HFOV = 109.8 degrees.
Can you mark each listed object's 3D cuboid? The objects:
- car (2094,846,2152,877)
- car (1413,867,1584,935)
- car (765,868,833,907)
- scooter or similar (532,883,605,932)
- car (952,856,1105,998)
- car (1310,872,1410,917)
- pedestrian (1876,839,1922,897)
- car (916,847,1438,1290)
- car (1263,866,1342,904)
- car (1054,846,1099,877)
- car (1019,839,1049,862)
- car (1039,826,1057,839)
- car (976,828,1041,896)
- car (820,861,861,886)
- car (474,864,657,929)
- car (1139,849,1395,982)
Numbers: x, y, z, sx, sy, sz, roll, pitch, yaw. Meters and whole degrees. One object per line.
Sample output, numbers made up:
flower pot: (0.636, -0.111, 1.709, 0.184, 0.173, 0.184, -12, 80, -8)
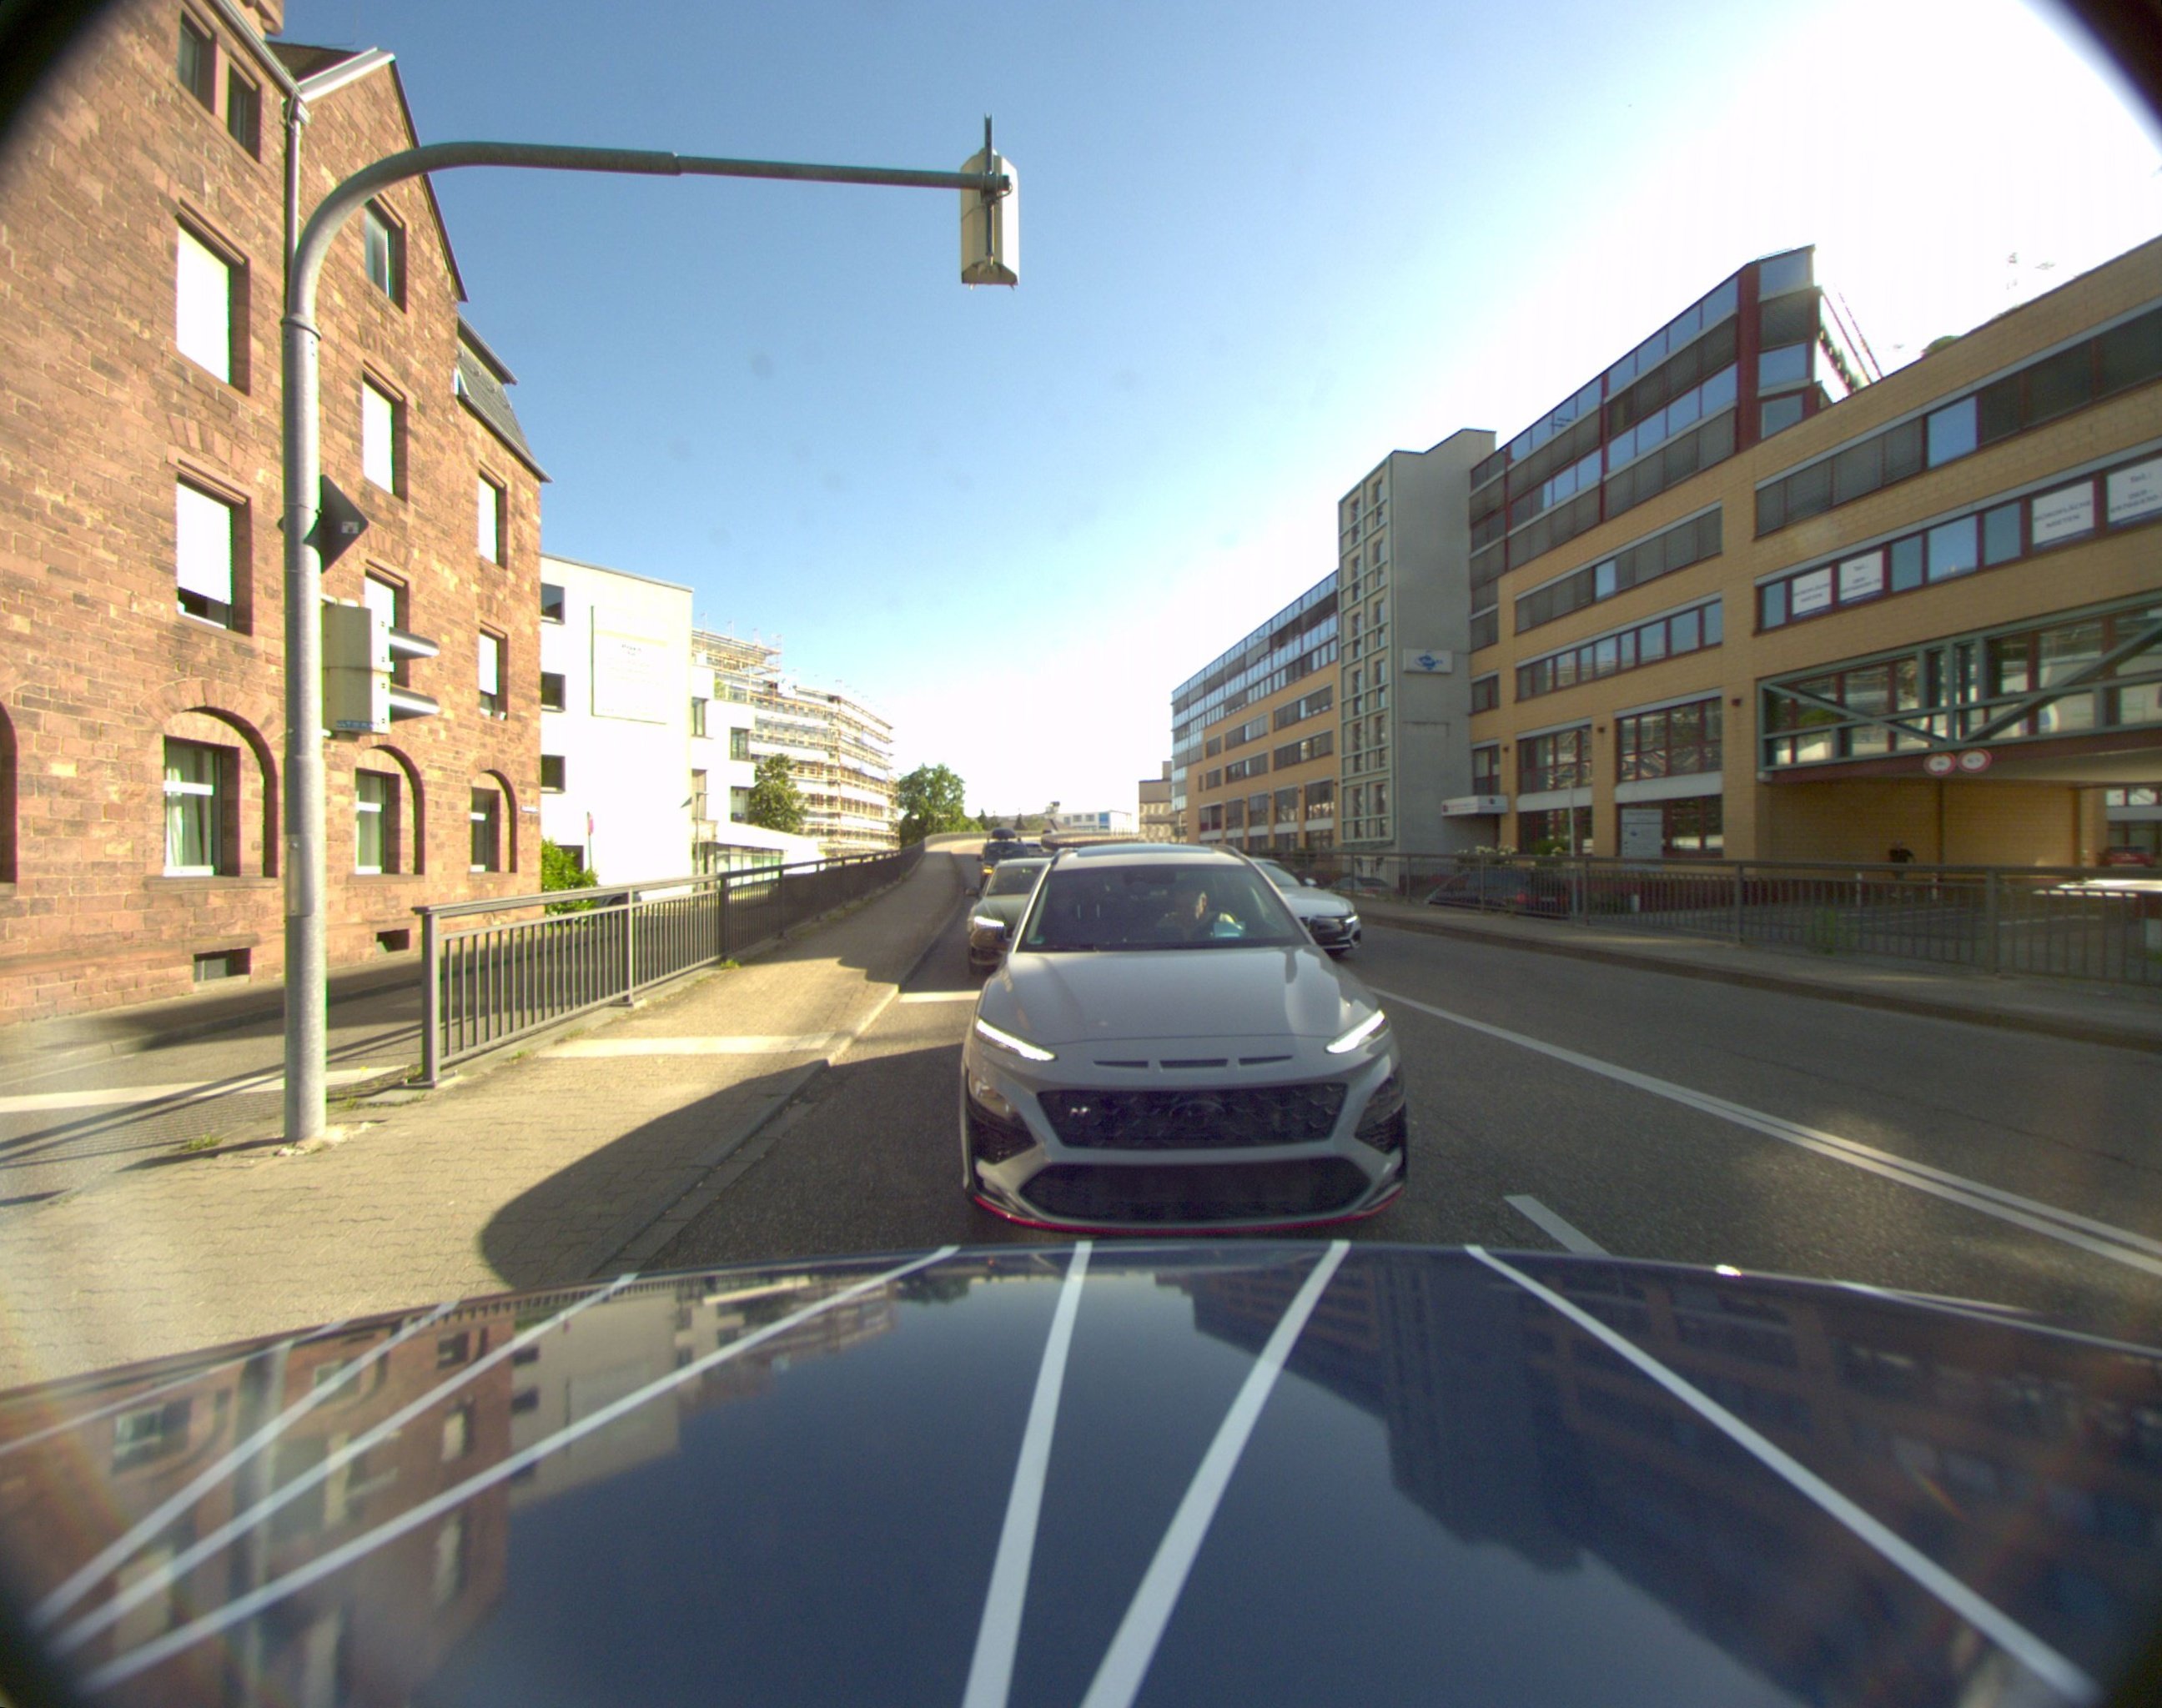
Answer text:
car: (53.702, 0.390, 39.200, 3.159, 1.564, 1.639, 0, -1, -38)
car: (12.409, 1.305, 23.007, 1.957, 1.747, 4.683, -1, 0, -11)
car: (-13.041, 1.496, 35.414, 1.850, 1.422, 4.678, -1, 2, -6)
scooter or similar: (-14.269, 1.475, 21.191, 1.463, 1.212, 0.784, -3, 1, -14)
car: (-0.678, 0.838, 10.816, 1.721, 1.483, 4.167, -1, 2, -2)
car: (11.089, 1.564, 30.589, 1.826, 1.594, 4.353, 0, 0, -10)
pedestrian: (26.066, 0.439, 24.224, 0.787, 1.833, 0.678, 0, 0, -12)
car: (0.385, 0.762, 4.839, 1.849, 1.561, 4.220, -1, 1, 1)
car: (10.358, 1.416, 35.908, 1.826, 1.594, 4.353, 0, 0, -10)
car: (-0.287, 0.364, 38.013, 1.692, 1.448, 3.910, 0, 0, -9)
car: (-3.664, -0.293, 58.582, 1.840, 1.644, 4.623, 1, 1, -10)
car: (-5.646, -3.705, 130.718, 1.996, 1.924, 4.857, 0, 0, 13)
car: (-2.713, 0.194, 27.610, 1.911, 2.202, 4.592, -1, 3, -11)
car: (-15.524, 1.242, 49.162, 1.850, 1.526, 3.997, 0, 0, -7)
car: (-16.976, 1.305, 25.207, 1.823, 1.757, 4.658, 1, 2, 42)
car: (2.567, 0.744, 11.783, 1.851, 1.527, 4.500, -2, 2, -16)
